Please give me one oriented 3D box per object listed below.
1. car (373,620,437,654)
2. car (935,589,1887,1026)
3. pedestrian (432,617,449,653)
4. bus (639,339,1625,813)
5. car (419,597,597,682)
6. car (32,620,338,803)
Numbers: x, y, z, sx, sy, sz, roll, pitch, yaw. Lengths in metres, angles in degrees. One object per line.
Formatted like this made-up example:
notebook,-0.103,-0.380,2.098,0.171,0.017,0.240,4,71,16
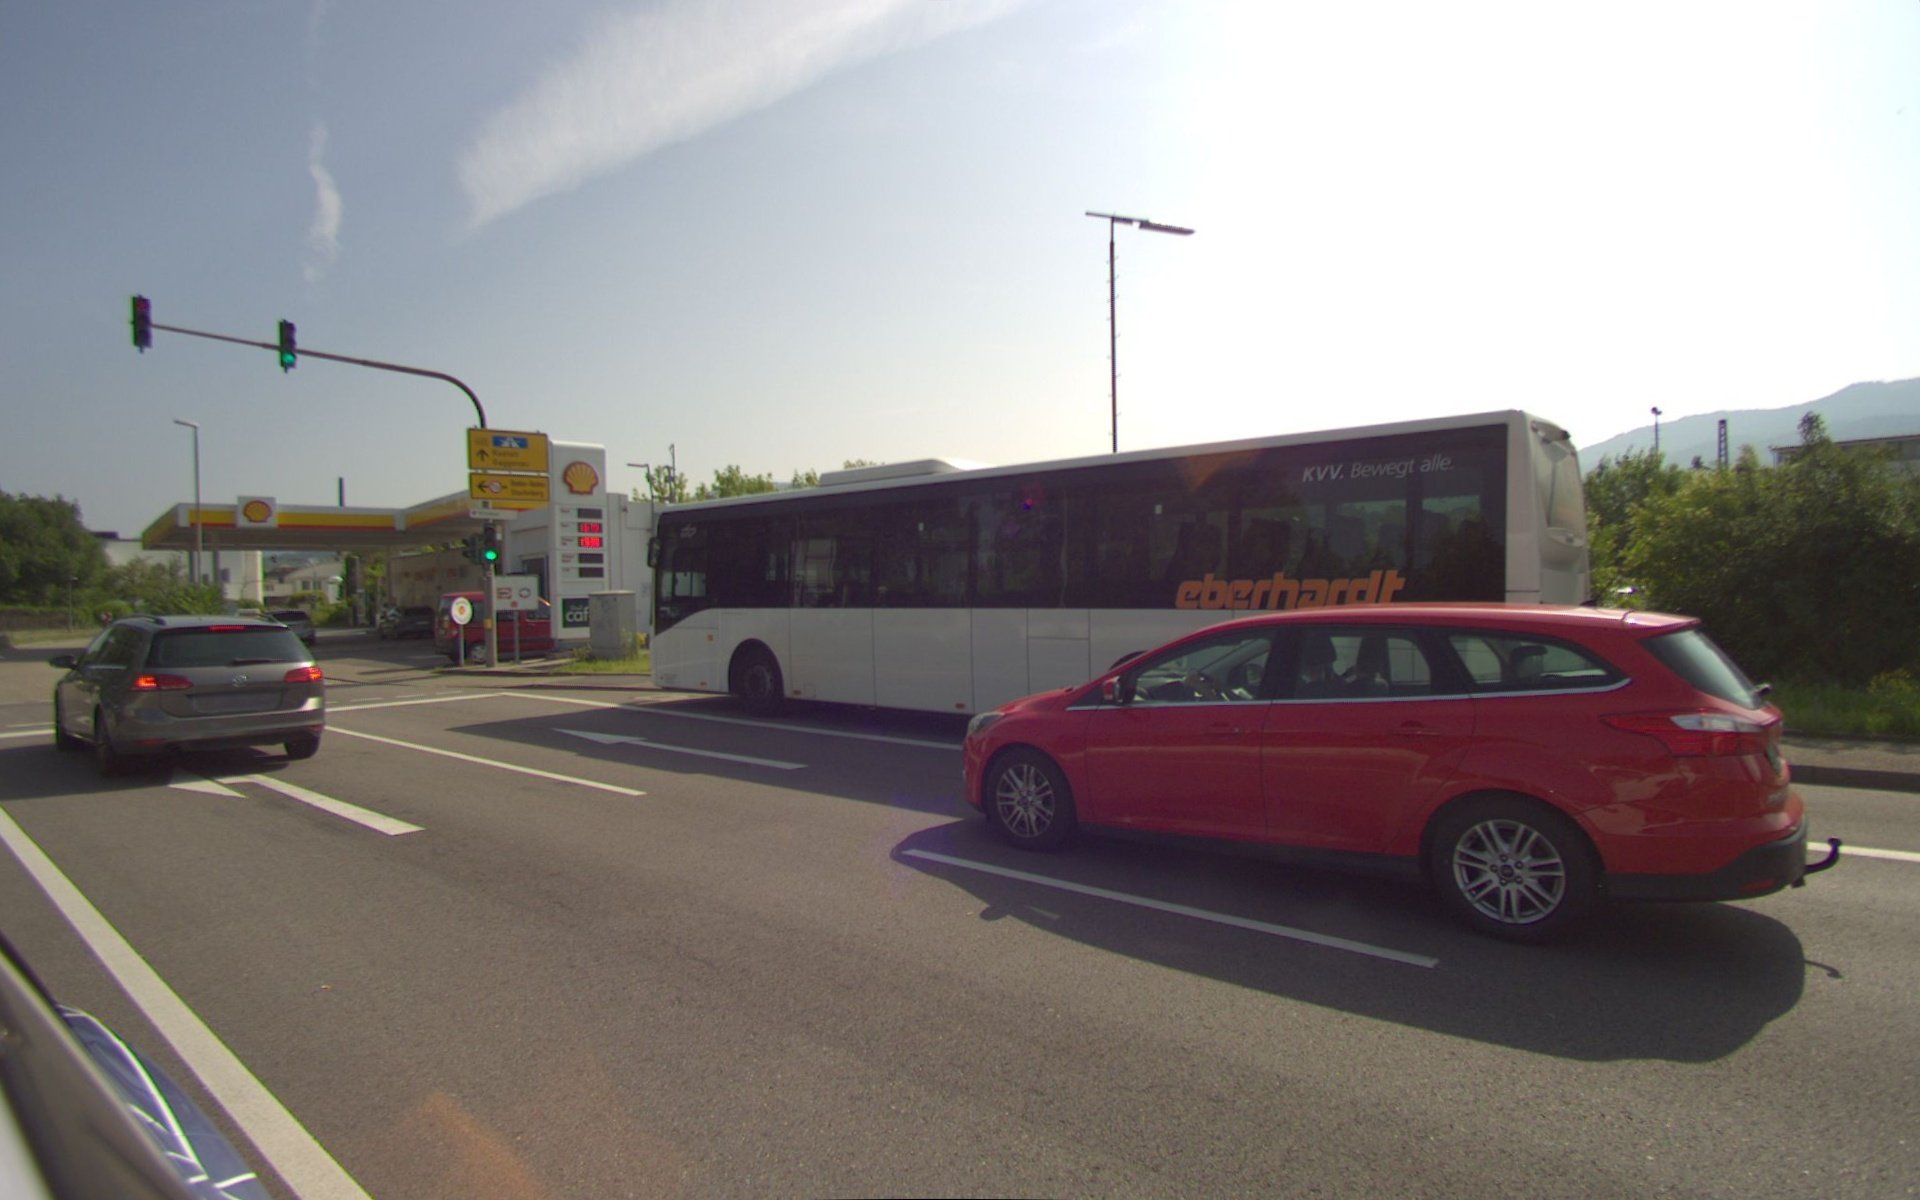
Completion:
car,-24.617,1.616,44.808,1.608,1.422,4.233,0,-1,-42
car,2.102,0.753,5.646,4.429,1.503,1.818,-1,-1,41
pedestrian,-22.909,1.530,44.633,0.551,1.559,0.535,0,-1,-42
bus,0.602,-0.075,12.028,11.950,3.335,2.593,-1,-1,41
car,-11.590,0.961,26.075,3.732,1.809,1.703,-5,2,-44
car,-8.070,0.963,10.394,4.218,1.484,1.753,-1,-1,42
